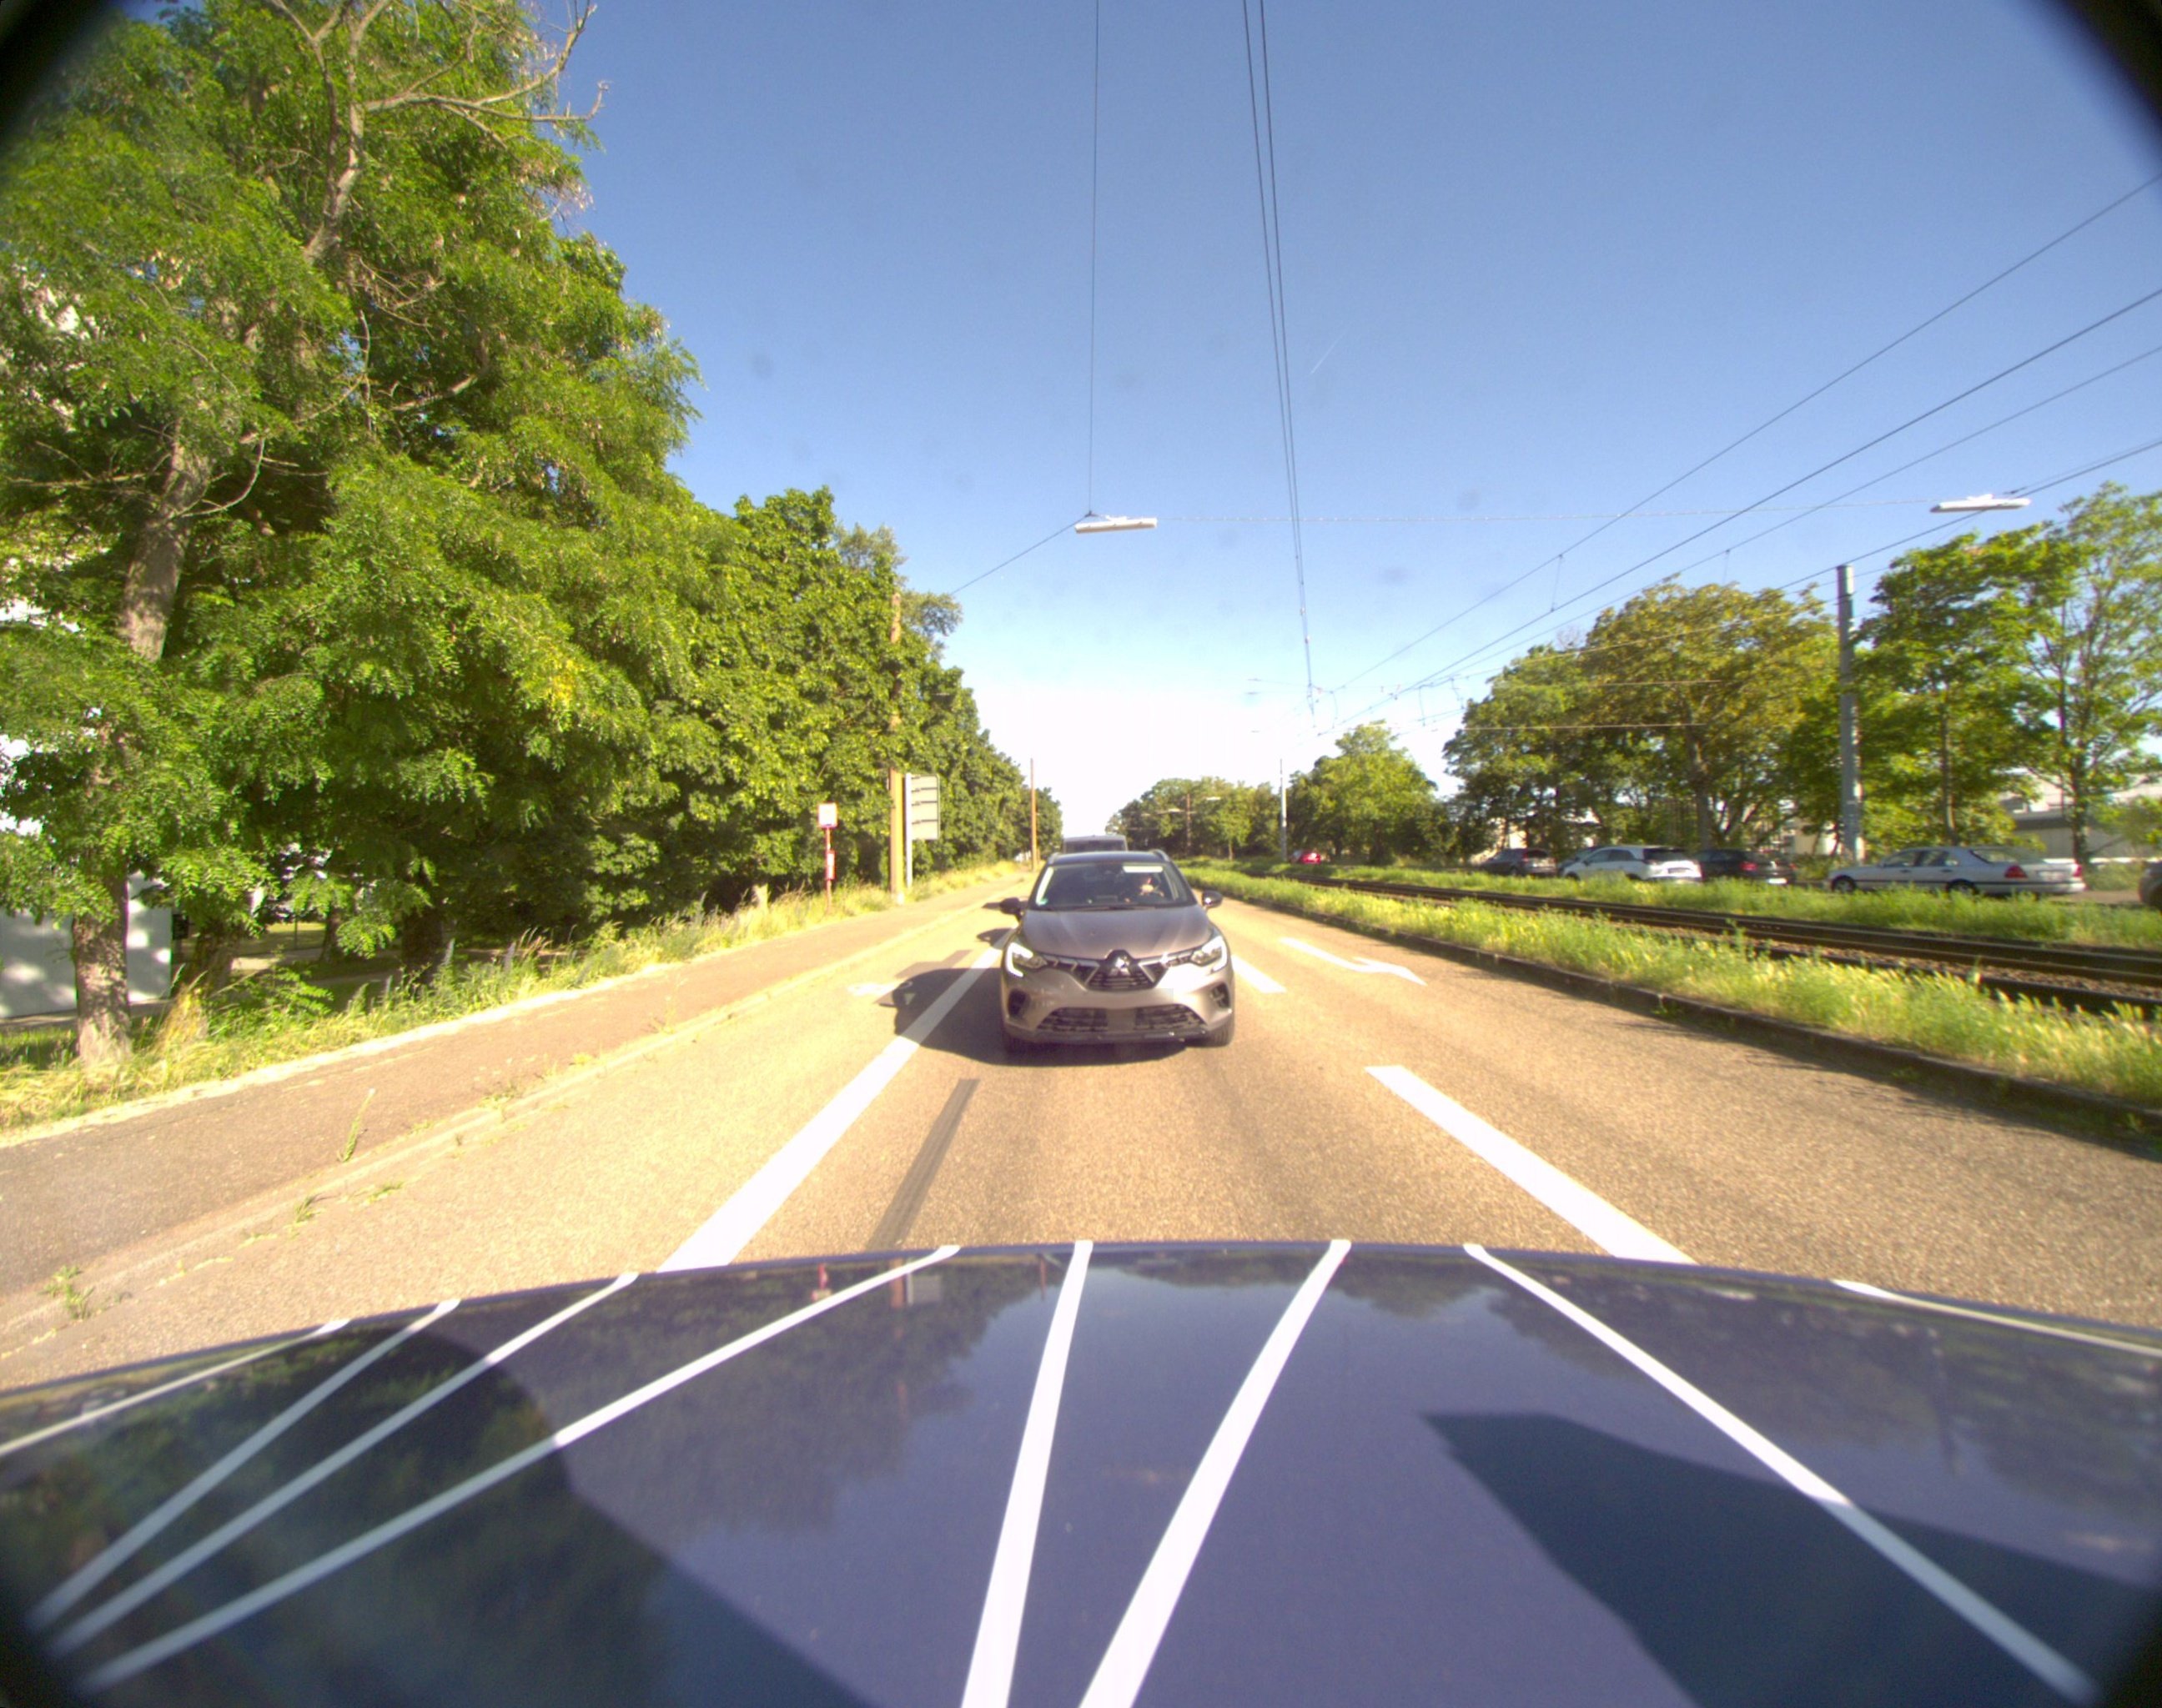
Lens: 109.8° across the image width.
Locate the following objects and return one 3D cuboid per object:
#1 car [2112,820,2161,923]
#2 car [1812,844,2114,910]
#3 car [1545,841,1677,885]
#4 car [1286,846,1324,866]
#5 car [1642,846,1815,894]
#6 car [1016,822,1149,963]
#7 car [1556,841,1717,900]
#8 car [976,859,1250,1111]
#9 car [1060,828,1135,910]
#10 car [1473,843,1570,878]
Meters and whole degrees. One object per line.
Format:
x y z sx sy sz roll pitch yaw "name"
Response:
21.235 0.289 12.501 2.207 1.923 4.685 -2 0 2 "car"
21.539 0.509 18.941 2.130 1.372 4.616 -2 0 -1 "car"
21.300 0.346 30.832 2.130 1.578 4.616 -2 0 1 "car"
20.992 0.188 71.474 2.321 1.723 4.798 -2 0 3 "car"
21.338 0.493 25.335 1.960 1.417 4.488 -2 0 1 "car"
0.053 0.601 13.726 1.998 2.113 4.000 -2 0 1 "car"
16.607 0.459 23.007 1.859 1.548 4.157 -2 0 1 "car"
0.174 0.885 7.324 1.796 1.583 4.529 -1 0 -1 "car"
0.396 0.454 23.023 1.999 2.198 4.786 -1 -1 -1 "car"
21.558 0.330 37.415 2.130 1.554 4.560 -2 0 0 "car"
